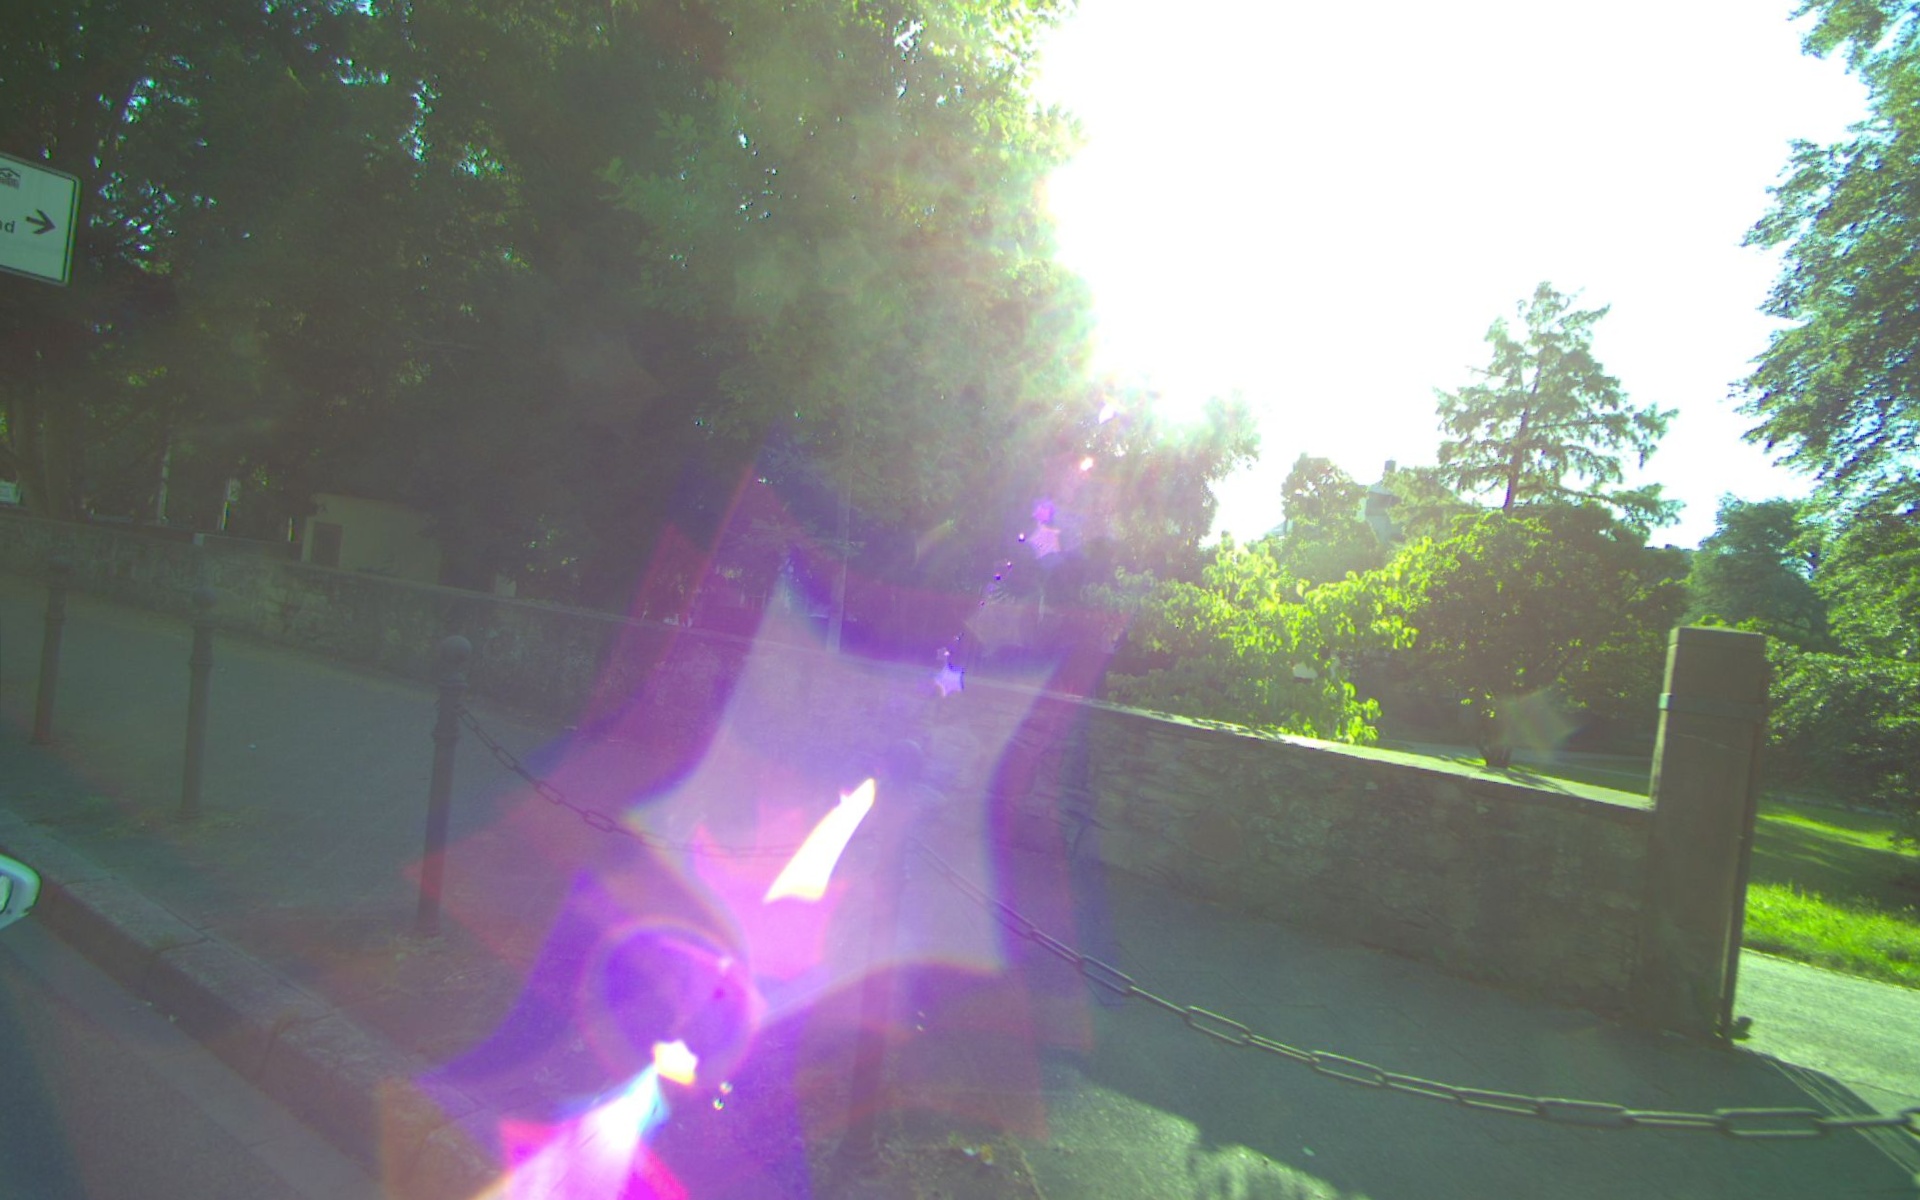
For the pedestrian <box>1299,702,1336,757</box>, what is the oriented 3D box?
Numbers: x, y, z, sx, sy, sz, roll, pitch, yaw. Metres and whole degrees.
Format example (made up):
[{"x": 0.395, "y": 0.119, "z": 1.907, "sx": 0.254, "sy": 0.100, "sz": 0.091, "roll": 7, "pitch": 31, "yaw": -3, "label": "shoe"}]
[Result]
[{"x": 11.340, "y": 4.105, "z": 31.902, "sx": 0.750, "sy": 1.636, "sz": 0.564, "roll": 6, "pitch": -2, "yaw": 41, "label": "pedestrian"}]

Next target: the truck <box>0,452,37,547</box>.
[{"x": -33.305, "y": -3.686, "z": 30.997, "sx": 2.396, "sy": 2.927, "sz": 6.594, "roll": 7, "pitch": -3, "yaw": 36, "label": "truck"}]

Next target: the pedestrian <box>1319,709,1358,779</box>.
[{"x": 9.652, "y": 3.663, "z": 25.637, "sx": 0.626, "sy": 1.659, "sz": 0.616, "roll": 7, "pitch": -2, "yaw": 33, "label": "pedestrian"}]
